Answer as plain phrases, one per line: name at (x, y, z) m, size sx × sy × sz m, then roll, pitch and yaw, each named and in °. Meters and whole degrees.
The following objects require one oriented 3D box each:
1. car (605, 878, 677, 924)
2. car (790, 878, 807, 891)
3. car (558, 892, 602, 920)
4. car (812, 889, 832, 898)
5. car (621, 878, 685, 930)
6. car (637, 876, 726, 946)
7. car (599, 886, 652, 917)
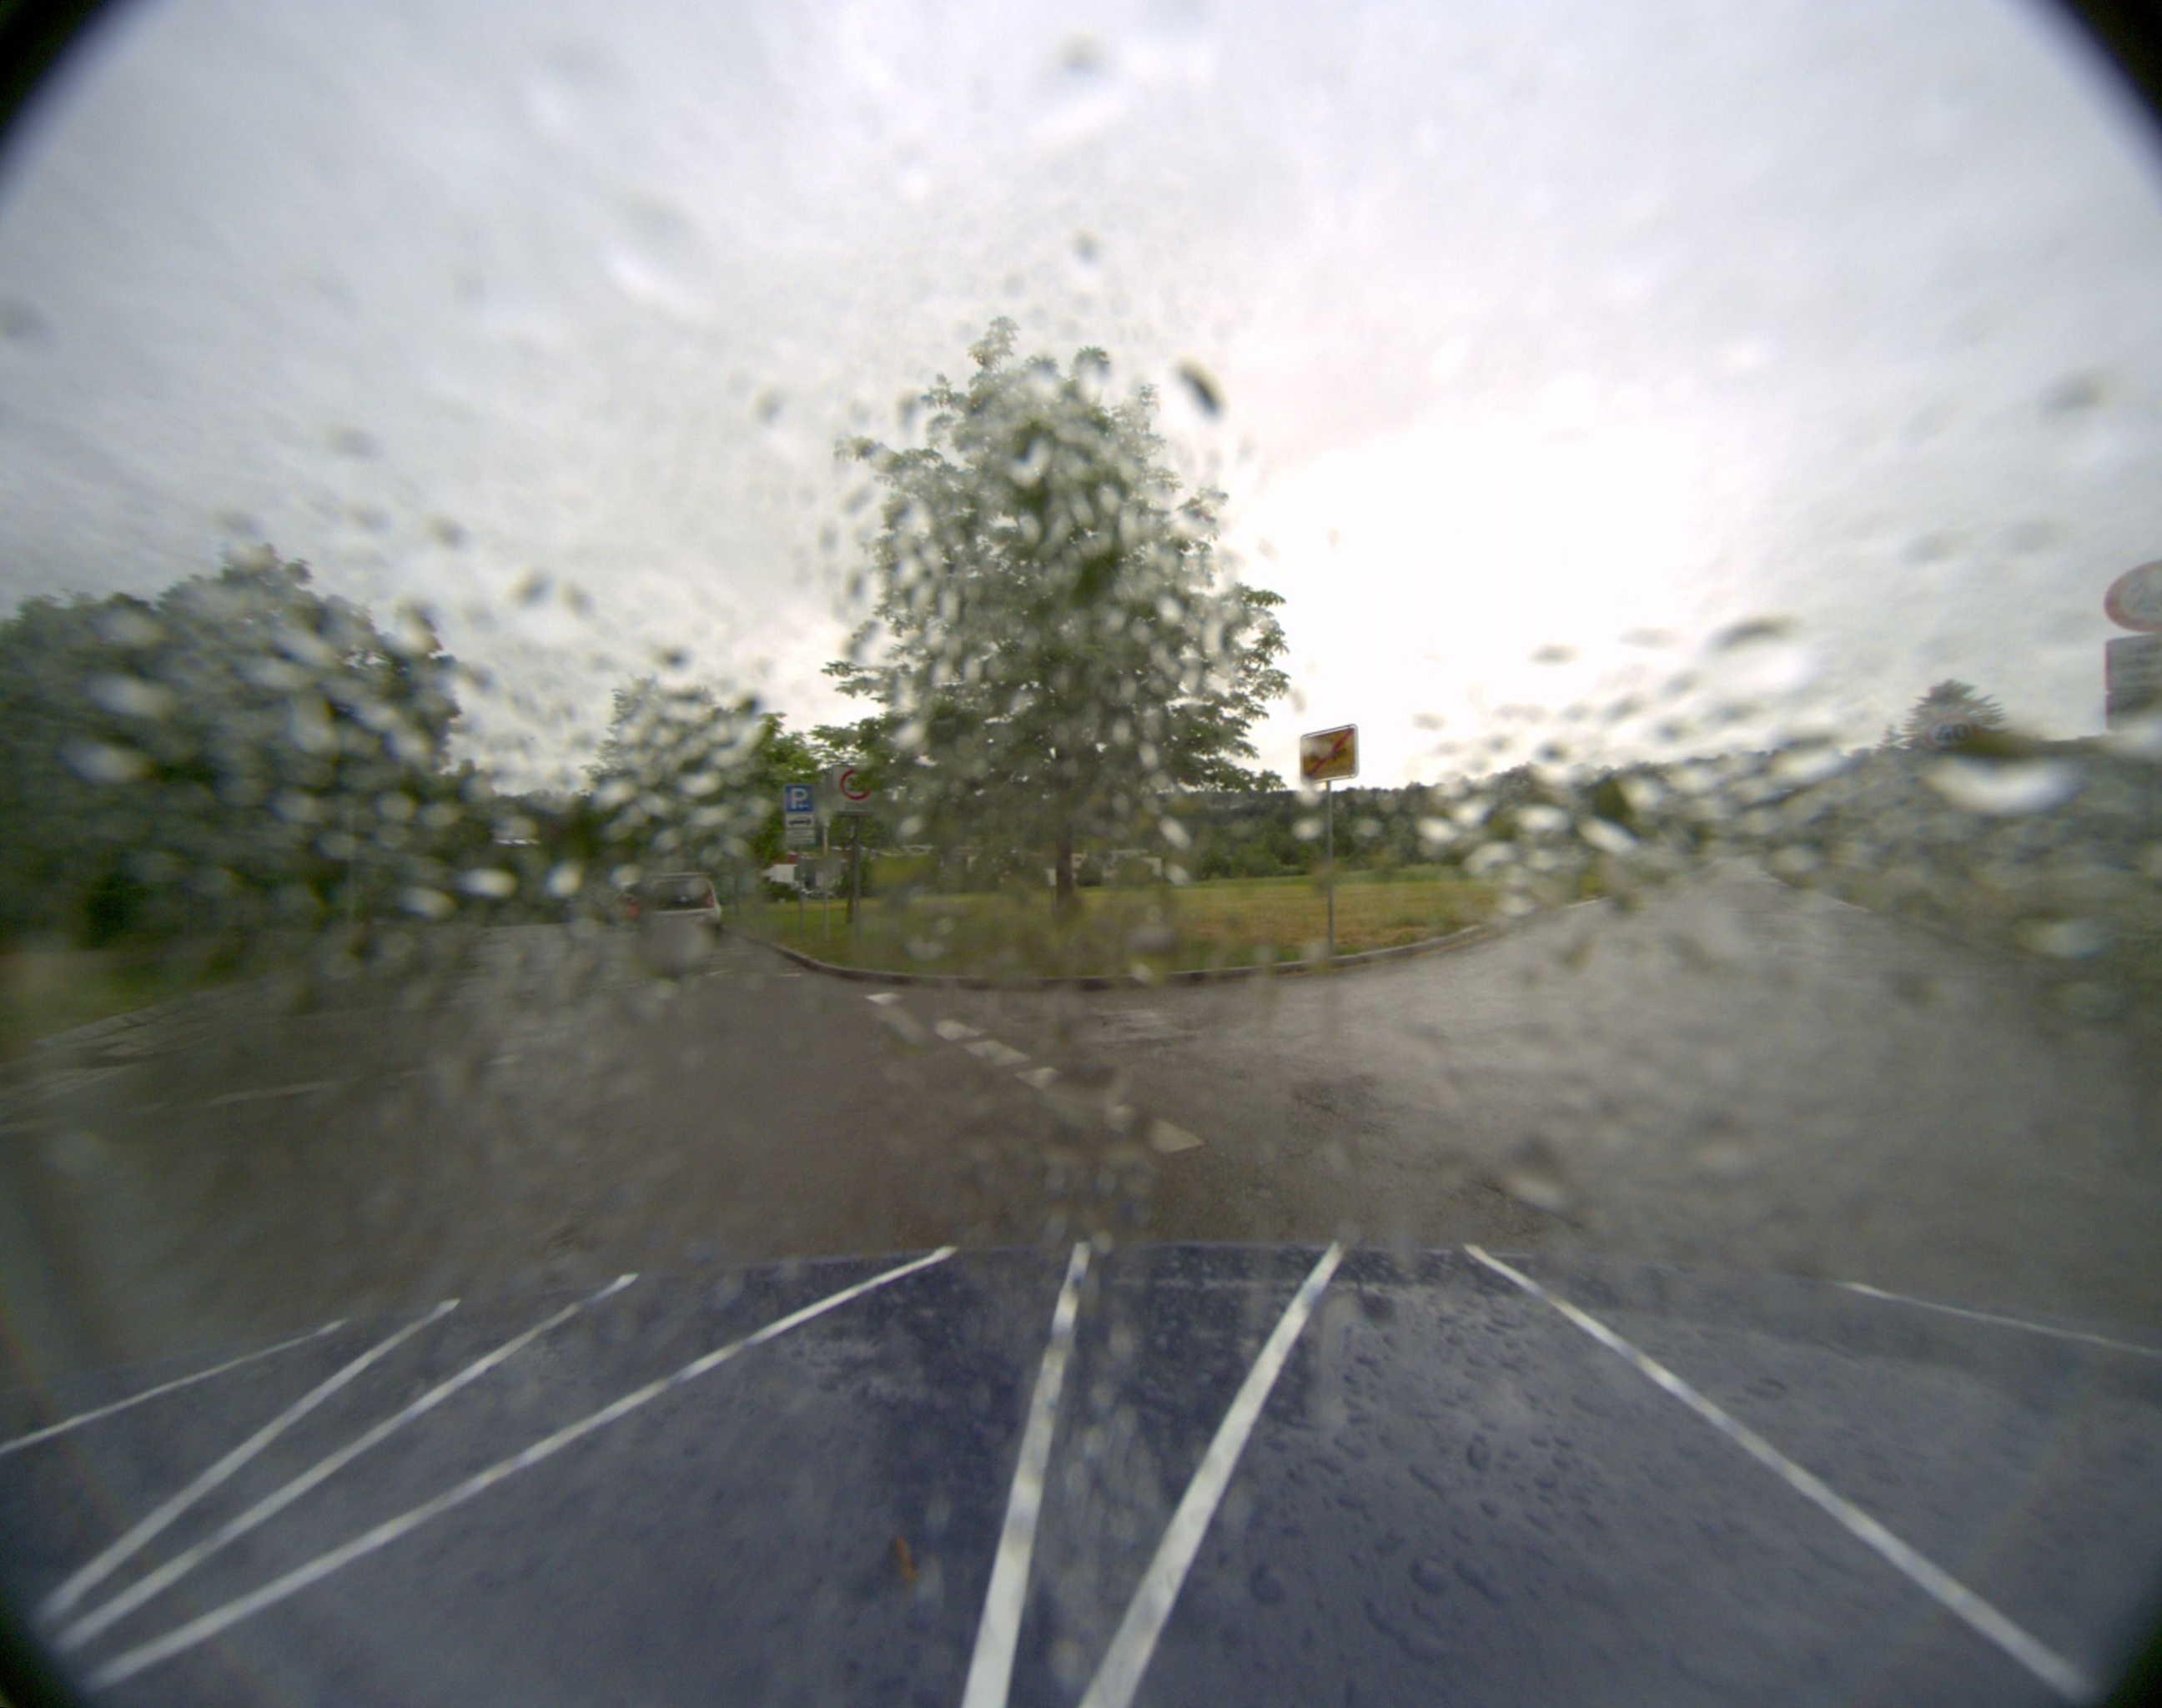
car at (-16.690, 1.756, 28.717) m, size 1.855 × 1.542 × 3.980 m, roll -1°, pitch -2°, yaw -37°
car at (-71.303, 7.749, 191.910) m, size 2.144 × 3.206 × 5.075 m, roll -2°, pitch 0°, yaw -43°
car at (-32.320, 3.355, 48.986) m, size 1.966 × 1.597 × 3.991 m, roll -1°, pitch -4°, yaw -39°
car at (-61.433, 9.274, 179.945) m, size 4.008 × 2.001 × 1.994 m, roll 0°, pitch -1°, yaw -45°
car at (-13.341, 1.518, 23.620) m, size 1.556 × 1.427 × 3.005 m, roll -2°, pitch -1°, yaw -32°
car at (-9.977, 1.320, 18.861) m, size 1.682 × 1.470 × 3.546 m, roll -2°, pitch 0°, yaw -31°
car at (-21.372, 2.196, 35.623) m, size 1.737 × 1.273 × 3.320 m, roll -1°, pitch -1°, yaw -38°
